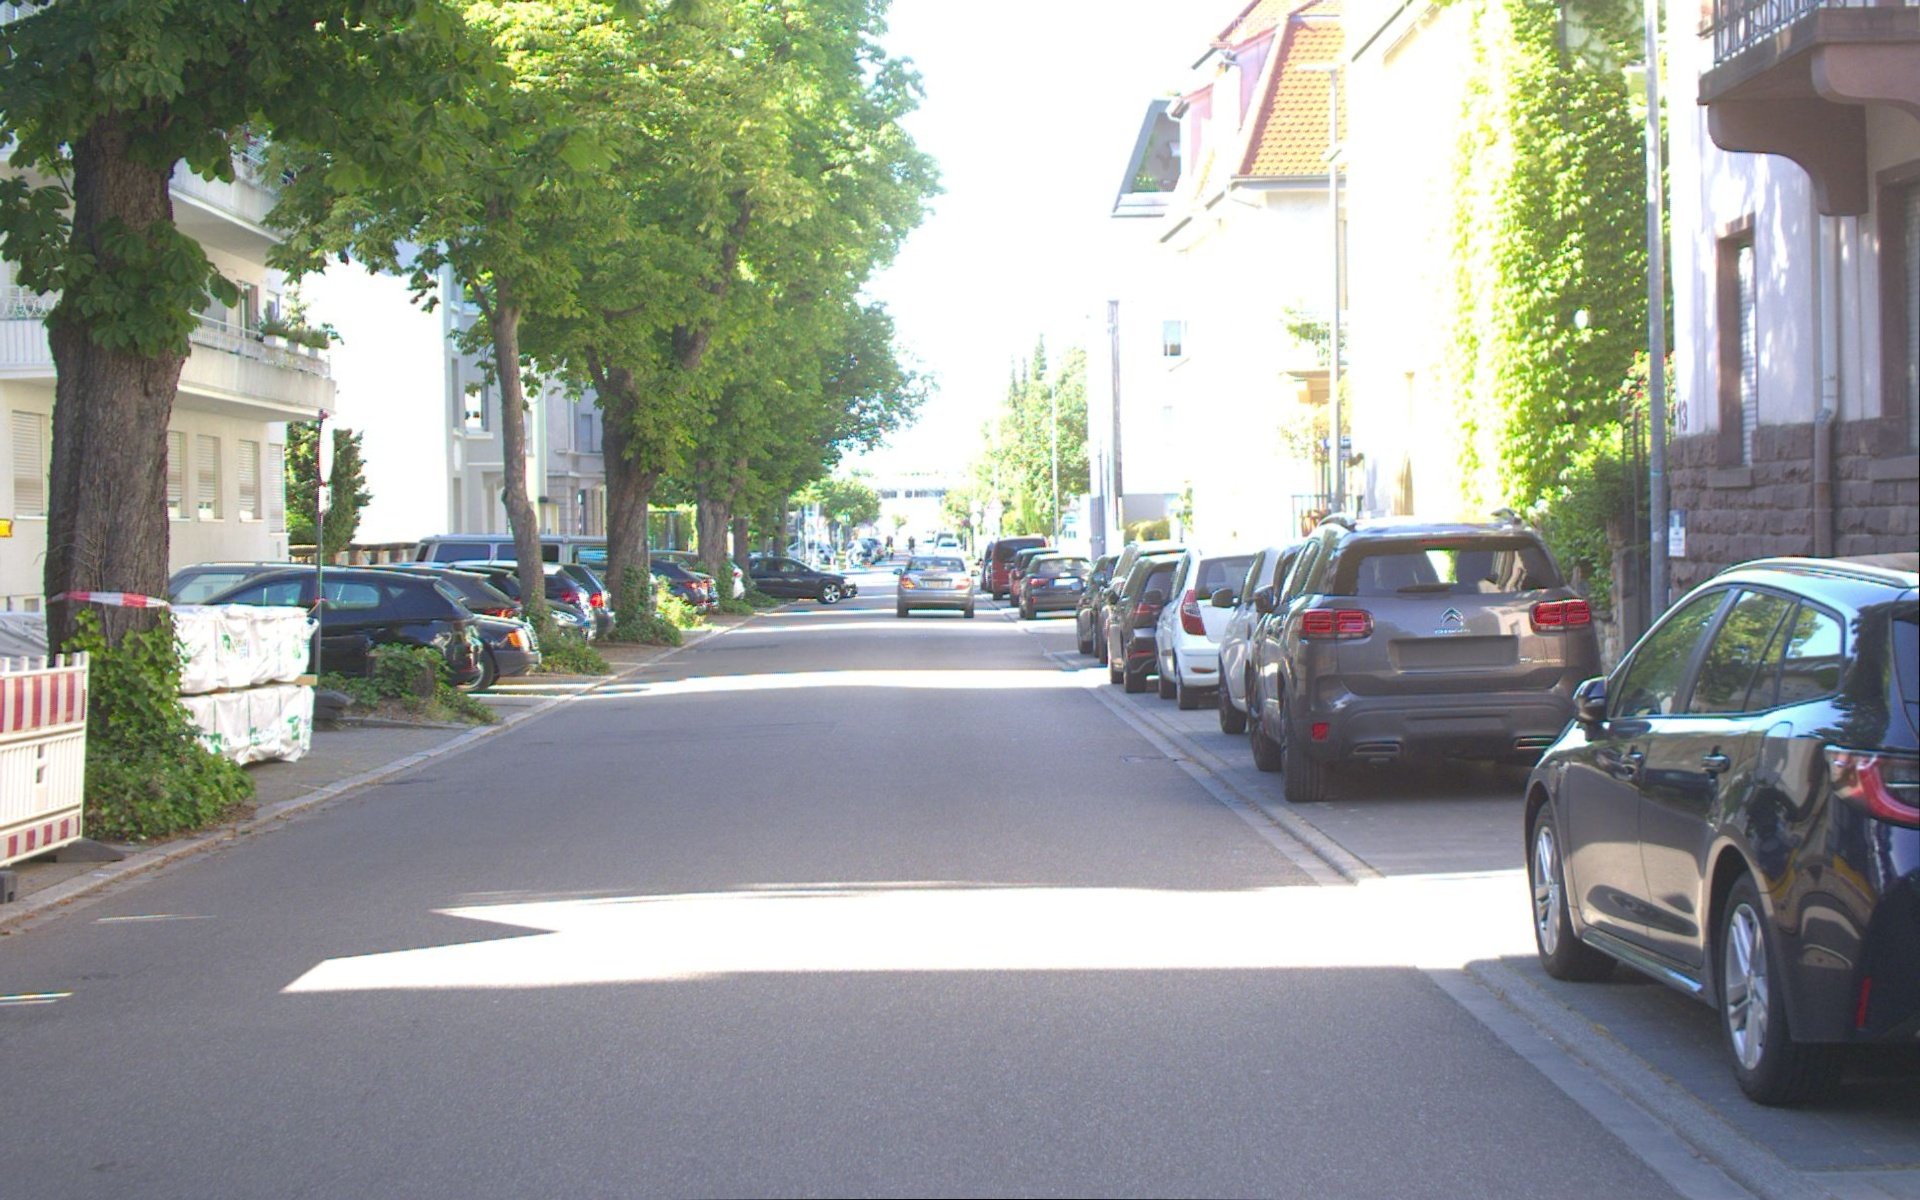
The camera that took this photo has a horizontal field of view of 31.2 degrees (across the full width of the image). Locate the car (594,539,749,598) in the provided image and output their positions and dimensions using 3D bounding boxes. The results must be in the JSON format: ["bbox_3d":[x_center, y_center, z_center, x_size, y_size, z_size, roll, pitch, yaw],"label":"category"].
[{"bbox_3d":[-7.769,-0.856,92.695,4.022,1.479,1.807,1,1,-1],"label":"car"}]

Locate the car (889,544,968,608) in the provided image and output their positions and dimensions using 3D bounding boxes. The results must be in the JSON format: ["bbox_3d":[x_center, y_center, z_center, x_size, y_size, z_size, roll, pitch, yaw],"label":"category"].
[{"bbox_3d":[-0.703,-0.566,78.989,1.726,1.415,3.960,0,1,0],"label":"car"}]

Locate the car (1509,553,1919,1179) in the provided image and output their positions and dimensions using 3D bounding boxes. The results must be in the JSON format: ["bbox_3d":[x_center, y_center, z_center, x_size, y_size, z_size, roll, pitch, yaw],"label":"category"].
[{"bbox_3d":[2.835,0.593,10.310,1.643,1.449,4.503,0,1,0],"label":"car"}]

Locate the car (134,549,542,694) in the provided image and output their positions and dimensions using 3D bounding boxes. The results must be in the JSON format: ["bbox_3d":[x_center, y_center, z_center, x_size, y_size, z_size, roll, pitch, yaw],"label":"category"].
[{"bbox_3d":[-7.250,0.225,40.280,4.588,1.601,1.833,-1,1,-9],"label":"car"}]

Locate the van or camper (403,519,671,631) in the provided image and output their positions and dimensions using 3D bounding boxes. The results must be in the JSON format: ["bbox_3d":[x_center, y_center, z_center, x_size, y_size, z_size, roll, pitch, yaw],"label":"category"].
[{"bbox_3d":[-7.441,-0.452,60.828,4.497,1.908,1.964,0,1,0],"label":"van or camper"}]

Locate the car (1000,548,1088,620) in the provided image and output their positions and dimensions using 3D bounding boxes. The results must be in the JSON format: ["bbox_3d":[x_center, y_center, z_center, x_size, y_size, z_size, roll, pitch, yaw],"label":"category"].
[{"bbox_3d":[1.815,-0.378,75.428,1.619,1.435,3.935,-3,1,-2],"label":"car"}]

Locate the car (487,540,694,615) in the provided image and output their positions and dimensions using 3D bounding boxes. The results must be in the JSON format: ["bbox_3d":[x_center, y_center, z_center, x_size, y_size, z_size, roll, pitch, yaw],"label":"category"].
[{"bbox_3d":[-7.758,-0.484,72.409,4.186,1.493,1.861,-1,1,-1],"label":"car"}]

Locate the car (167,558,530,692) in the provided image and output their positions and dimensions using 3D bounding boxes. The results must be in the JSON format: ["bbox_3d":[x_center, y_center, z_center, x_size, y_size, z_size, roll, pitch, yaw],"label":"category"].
[{"bbox_3d":[-7.582,0.291,42.865,4.187,1.436,1.713,-3,1,-1],"label":"car"}]

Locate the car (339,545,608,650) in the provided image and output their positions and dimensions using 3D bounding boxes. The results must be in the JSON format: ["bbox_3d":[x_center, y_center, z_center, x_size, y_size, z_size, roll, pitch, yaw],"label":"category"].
[{"bbox_3d":[-7.108,-0.043,50.432,3.644,1.458,1.710,1,0,2],"label":"car"}]

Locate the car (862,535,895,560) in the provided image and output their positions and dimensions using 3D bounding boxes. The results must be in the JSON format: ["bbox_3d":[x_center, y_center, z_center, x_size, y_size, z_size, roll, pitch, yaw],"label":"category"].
[{"bbox_3d":[-5.663,-3.625,237.607,1.787,1.527,4.001,-5,1,-6],"label":"car"}]

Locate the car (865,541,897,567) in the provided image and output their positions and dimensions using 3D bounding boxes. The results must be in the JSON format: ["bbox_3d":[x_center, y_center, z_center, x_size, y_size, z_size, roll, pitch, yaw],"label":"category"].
[{"bbox_3d":[-5.248,-3.058,228.520,1.872,1.722,4.001,-1,1,-5],"label":"car"}]

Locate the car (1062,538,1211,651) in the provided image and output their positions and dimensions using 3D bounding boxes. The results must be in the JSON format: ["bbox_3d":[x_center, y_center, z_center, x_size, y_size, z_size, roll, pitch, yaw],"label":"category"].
[{"bbox_3d":[2.521,-0.074,49.815,1.662,1.515,4.002,-2,0,-4],"label":"car"}]

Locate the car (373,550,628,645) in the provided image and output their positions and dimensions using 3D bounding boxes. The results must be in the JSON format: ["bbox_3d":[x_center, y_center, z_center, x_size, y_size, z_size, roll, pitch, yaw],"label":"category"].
[{"bbox_3d":[-7.360,-0.052,55.319,3.921,1.410,1.716,1,1,-2],"label":"car"}]

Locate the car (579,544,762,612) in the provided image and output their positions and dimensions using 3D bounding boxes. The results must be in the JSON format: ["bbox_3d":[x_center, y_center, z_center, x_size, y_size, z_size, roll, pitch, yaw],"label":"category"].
[{"bbox_3d":[-6.508,-0.510,77.646,3.987,1.463,1.697,-1,1,-1],"label":"car"}]

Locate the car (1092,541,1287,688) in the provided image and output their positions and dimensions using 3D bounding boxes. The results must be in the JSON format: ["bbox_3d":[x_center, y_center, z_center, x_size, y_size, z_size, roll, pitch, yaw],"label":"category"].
[{"bbox_3d":[2.446,0.149,37.526,1.709,1.431,4.193,-3,0,-1],"label":"car"}]

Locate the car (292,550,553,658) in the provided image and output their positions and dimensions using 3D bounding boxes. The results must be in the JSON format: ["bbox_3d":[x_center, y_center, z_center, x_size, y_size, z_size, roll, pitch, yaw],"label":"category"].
[{"bbox_3d":[-7.458,0.057,47.926,3.477,1.416,1.710,1,0,-5],"label":"car"}]

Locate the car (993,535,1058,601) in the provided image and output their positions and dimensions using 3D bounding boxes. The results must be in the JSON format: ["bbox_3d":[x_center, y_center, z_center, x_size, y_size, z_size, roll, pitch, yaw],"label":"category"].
[{"bbox_3d":[1.965,-0.976,104.897,1.871,1.898,5.197,-2,0,1],"label":"car"}]

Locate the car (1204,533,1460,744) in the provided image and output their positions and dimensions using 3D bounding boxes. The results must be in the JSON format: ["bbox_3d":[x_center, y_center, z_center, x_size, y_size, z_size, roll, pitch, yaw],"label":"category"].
[{"bbox_3d":[2.828,0.283,26.648,1.625,1.544,2.869,0,0,-1],"label":"car"}]

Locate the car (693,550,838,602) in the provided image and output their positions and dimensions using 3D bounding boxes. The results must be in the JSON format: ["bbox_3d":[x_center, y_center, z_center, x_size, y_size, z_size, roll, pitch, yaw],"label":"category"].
[{"bbox_3d":[-5.796,-0.715,102.715,4.189,1.443,1.712,1,0,2],"label":"car"}]

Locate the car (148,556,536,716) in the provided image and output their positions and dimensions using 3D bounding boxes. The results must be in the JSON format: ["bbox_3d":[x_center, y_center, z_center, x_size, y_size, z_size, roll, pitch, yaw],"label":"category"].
[{"bbox_3d":[-6.465,0.355,36.150,3.869,1.509,1.833,-2,1,-9],"label":"car"}]

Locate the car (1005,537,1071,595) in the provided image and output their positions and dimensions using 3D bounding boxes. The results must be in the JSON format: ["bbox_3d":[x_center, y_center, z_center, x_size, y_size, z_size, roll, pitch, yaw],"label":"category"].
[{"bbox_3d":[2.085,-0.922,92.323,1.592,1.475,3.247,-3,1,-1],"label":"car"}]

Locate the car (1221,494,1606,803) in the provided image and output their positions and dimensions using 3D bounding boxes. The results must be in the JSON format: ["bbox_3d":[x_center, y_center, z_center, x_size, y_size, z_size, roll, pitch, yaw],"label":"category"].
[{"bbox_3d":[2.698,0.274,21.385,1.778,1.690,4.320,1,0,0],"label":"car"}]

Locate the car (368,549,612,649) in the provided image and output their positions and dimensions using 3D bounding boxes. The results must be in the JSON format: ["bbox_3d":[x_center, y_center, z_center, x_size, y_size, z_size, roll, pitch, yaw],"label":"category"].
[{"bbox_3d":[-7.189,-0.023,52.829,3.478,1.453,1.797,1,0,1],"label":"car"}]

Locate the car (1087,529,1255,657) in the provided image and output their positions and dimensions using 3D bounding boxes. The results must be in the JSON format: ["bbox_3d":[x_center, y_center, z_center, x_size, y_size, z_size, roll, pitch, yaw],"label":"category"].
[{"bbox_3d":[2.676,-0.086,44.436,1.791,1.515,4.367,-2,0,-1],"label":"car"}]

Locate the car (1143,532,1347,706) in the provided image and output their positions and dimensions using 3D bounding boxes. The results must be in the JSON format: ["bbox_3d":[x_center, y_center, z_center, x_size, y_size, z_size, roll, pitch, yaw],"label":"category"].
[{"bbox_3d":[2.699,0.176,33.210,1.575,1.544,3.469,-2,0,-1],"label":"car"}]
